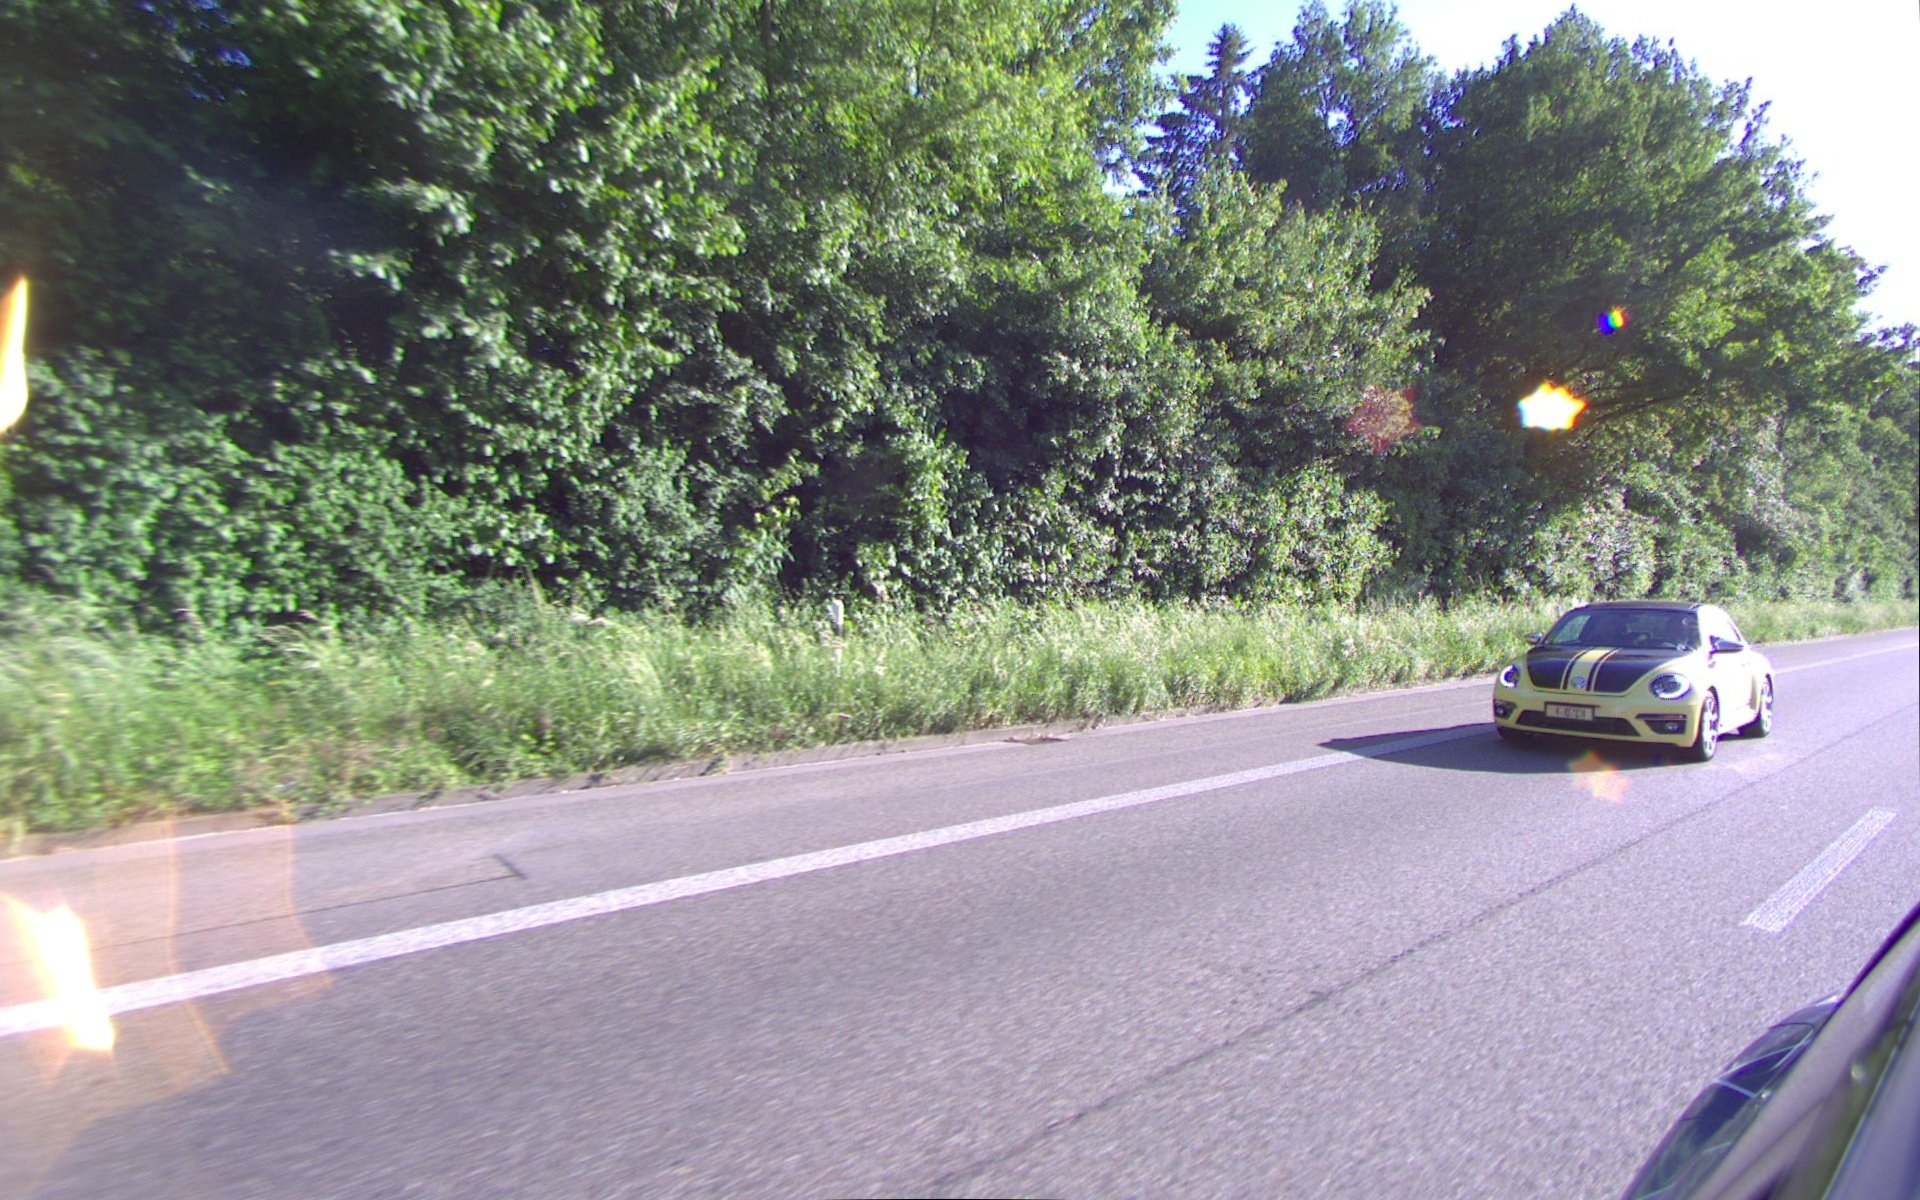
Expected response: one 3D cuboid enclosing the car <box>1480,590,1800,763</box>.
[{"bbox_3d":[7.450,0.650,10.912,4.281,1.480,1.882,0,1,-42],"label":"car"}]
